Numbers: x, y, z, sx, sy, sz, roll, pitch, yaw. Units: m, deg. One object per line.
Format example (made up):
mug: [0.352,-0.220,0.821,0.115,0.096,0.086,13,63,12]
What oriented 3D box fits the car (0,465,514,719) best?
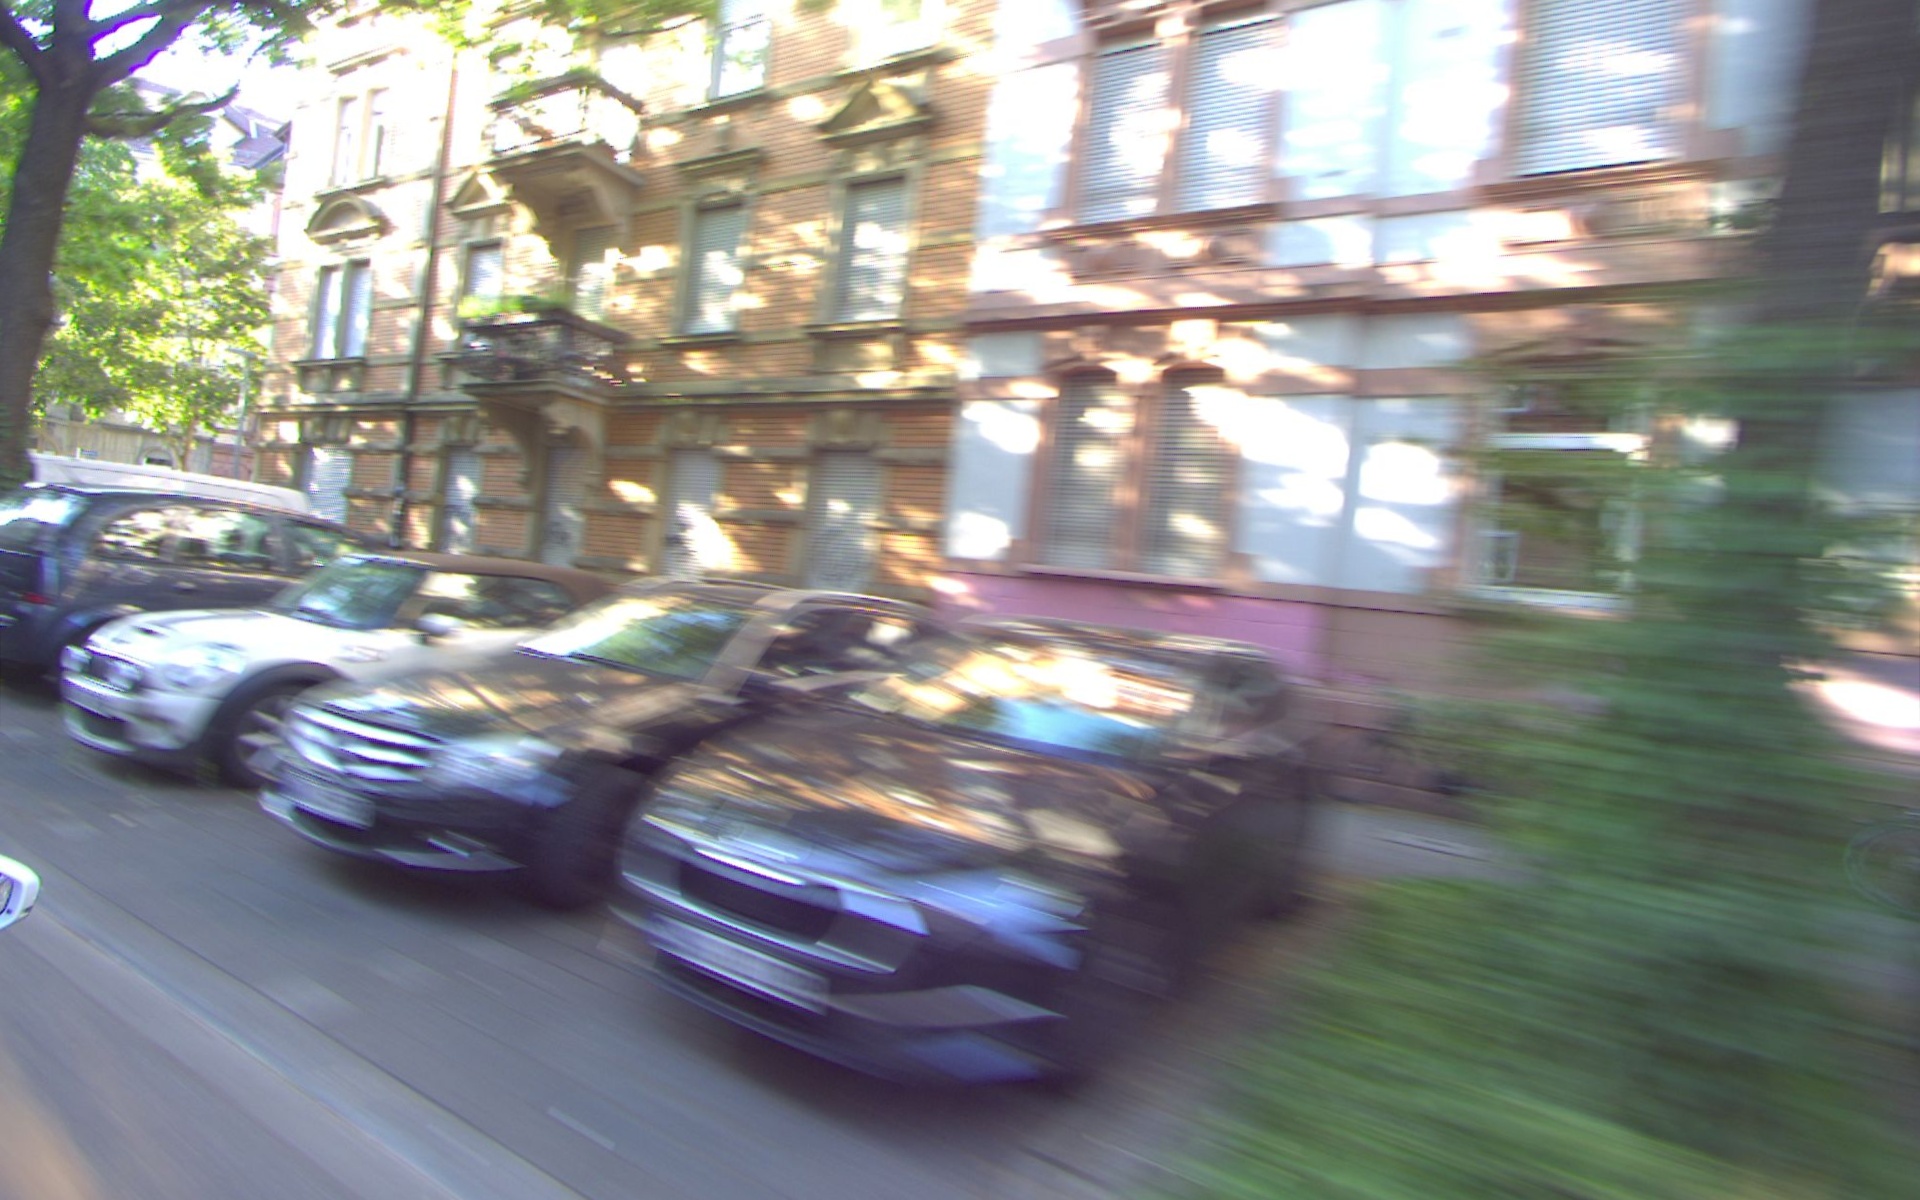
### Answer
car: [-6.177,0.008,8.743,1.694,1.668,3.894,7,-1,26]

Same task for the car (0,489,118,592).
car: [-16.349,-1.134,16.012,1.813,1.516,4.087,7,-1,31]

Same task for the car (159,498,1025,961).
car: [-1.514,0.588,6.016,1.899,1.521,4.669,7,-1,28]

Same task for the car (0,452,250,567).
car: [-26.613,-2.775,32.074,2.337,2.567,5.912,7,-1,25]

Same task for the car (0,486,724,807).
car: [-3.825,0.343,7.276,1.779,1.521,4.116,7,-1,27]

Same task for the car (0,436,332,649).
car: [-10.140,-0.626,10.954,2.123,1.962,5.100,3,-3,31]

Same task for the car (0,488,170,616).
car: [-12.609,-0.714,12.483,1.749,1.493,3.997,7,0,24]

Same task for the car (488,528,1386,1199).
car: [0.507,0.816,4.812,1.967,1.548,4.558,7,-1,32]

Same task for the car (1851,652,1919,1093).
car: [3.926,1.079,2.098,1.849,1.724,4.652,7,1,28]

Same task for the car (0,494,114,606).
car: [-14.694,-0.910,13.732,1.902,1.473,4.376,7,-1,31]
